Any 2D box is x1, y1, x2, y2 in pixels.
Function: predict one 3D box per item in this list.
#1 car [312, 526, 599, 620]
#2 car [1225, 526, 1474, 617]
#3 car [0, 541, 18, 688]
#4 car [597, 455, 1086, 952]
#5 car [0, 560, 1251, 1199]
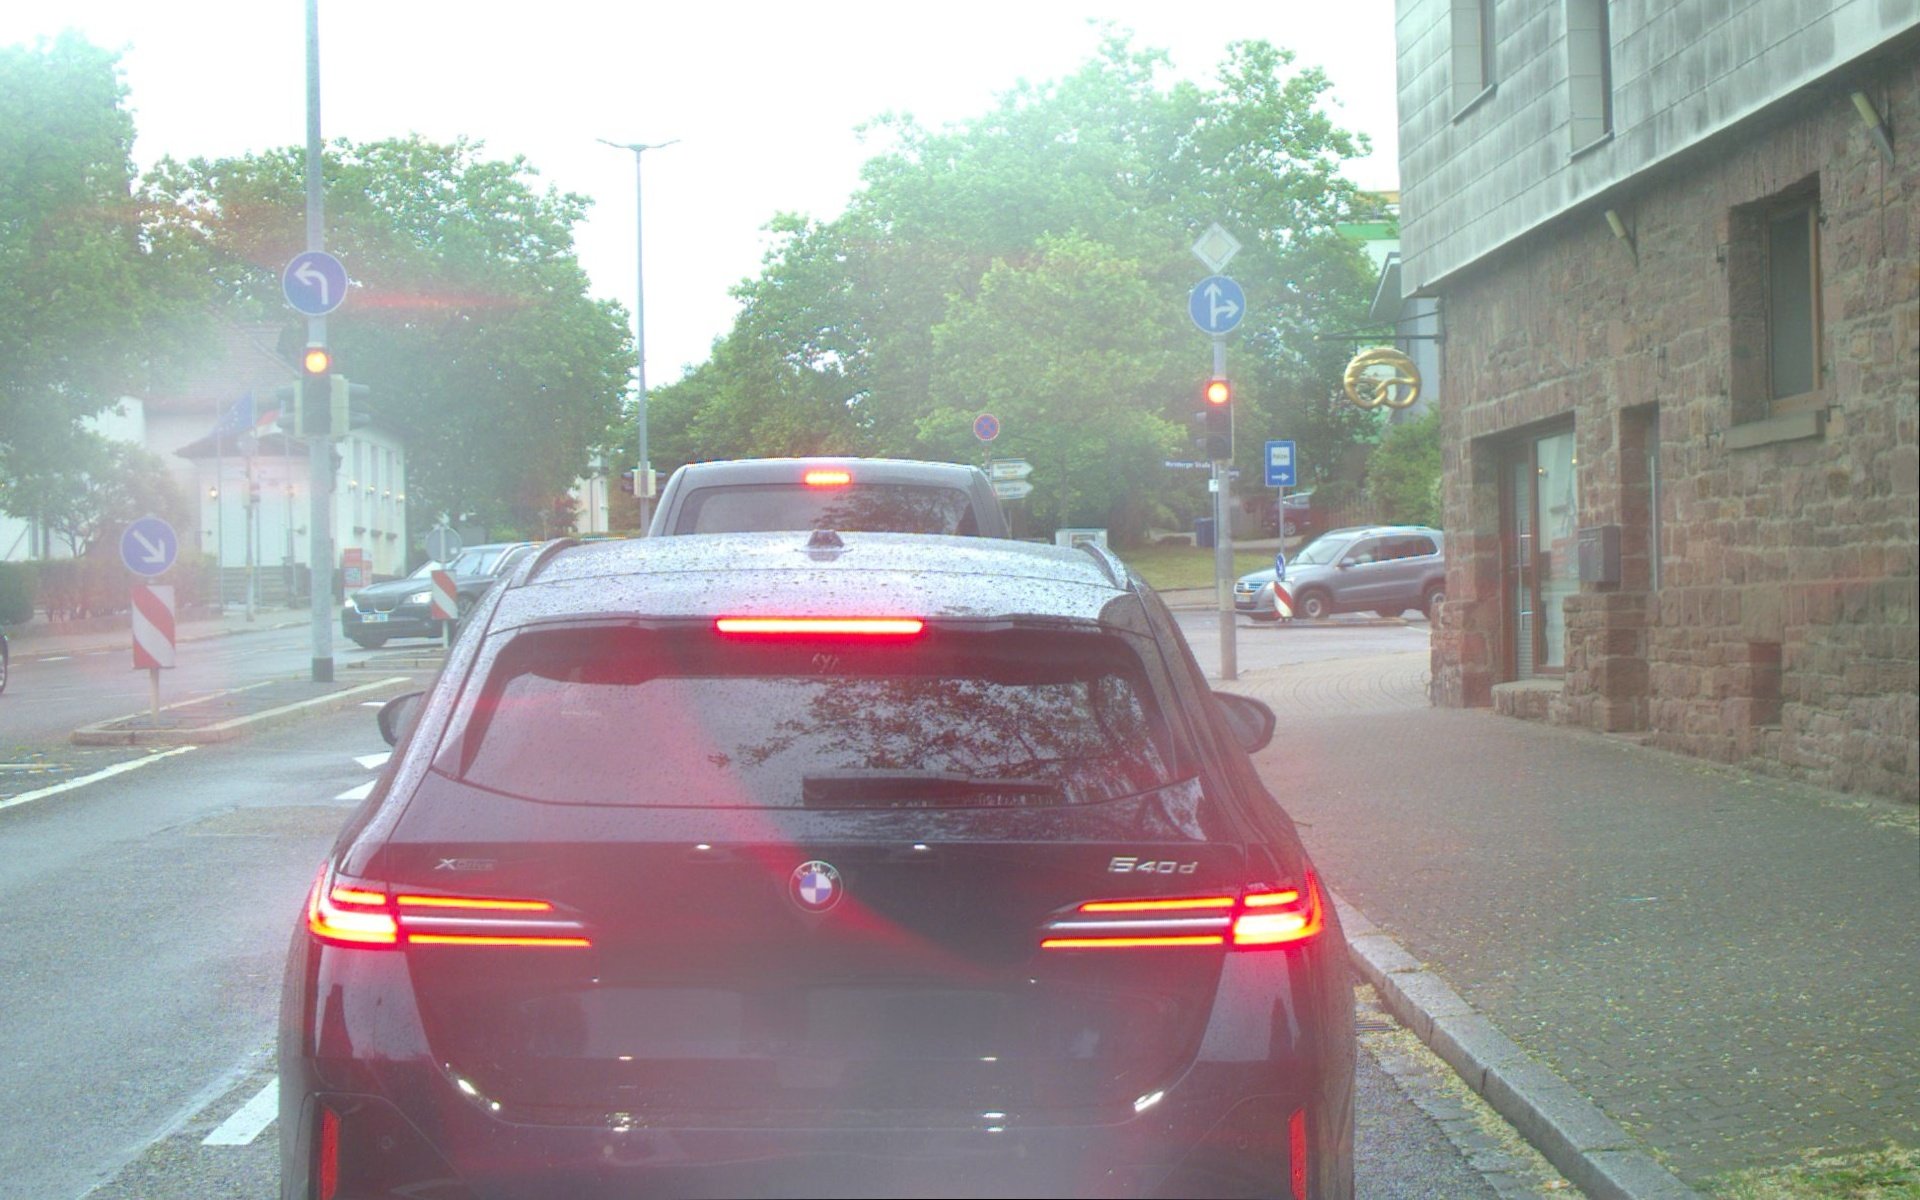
[{"bbox_3d":[-7.296,-0.420,50.015,1.846,1.284,3.992,1,2,36],"label":"car"},{"bbox_3d":[6.883,-0.523,60.778,3.986,1.546,1.825,-1,1,-22],"label":"car"},{"bbox_3d":[-10.871,0.182,33.973,1.993,1.504,3.955,0,1,1],"label":"car"},{"bbox_3d":[-0.526,0.334,14.599,1.783,1.811,4.001,0,1,-3],"label":"car"},{"bbox_3d":[-0.716,0.653,7.425,2.064,1.441,4.484,0,1,-3],"label":"car"}]
